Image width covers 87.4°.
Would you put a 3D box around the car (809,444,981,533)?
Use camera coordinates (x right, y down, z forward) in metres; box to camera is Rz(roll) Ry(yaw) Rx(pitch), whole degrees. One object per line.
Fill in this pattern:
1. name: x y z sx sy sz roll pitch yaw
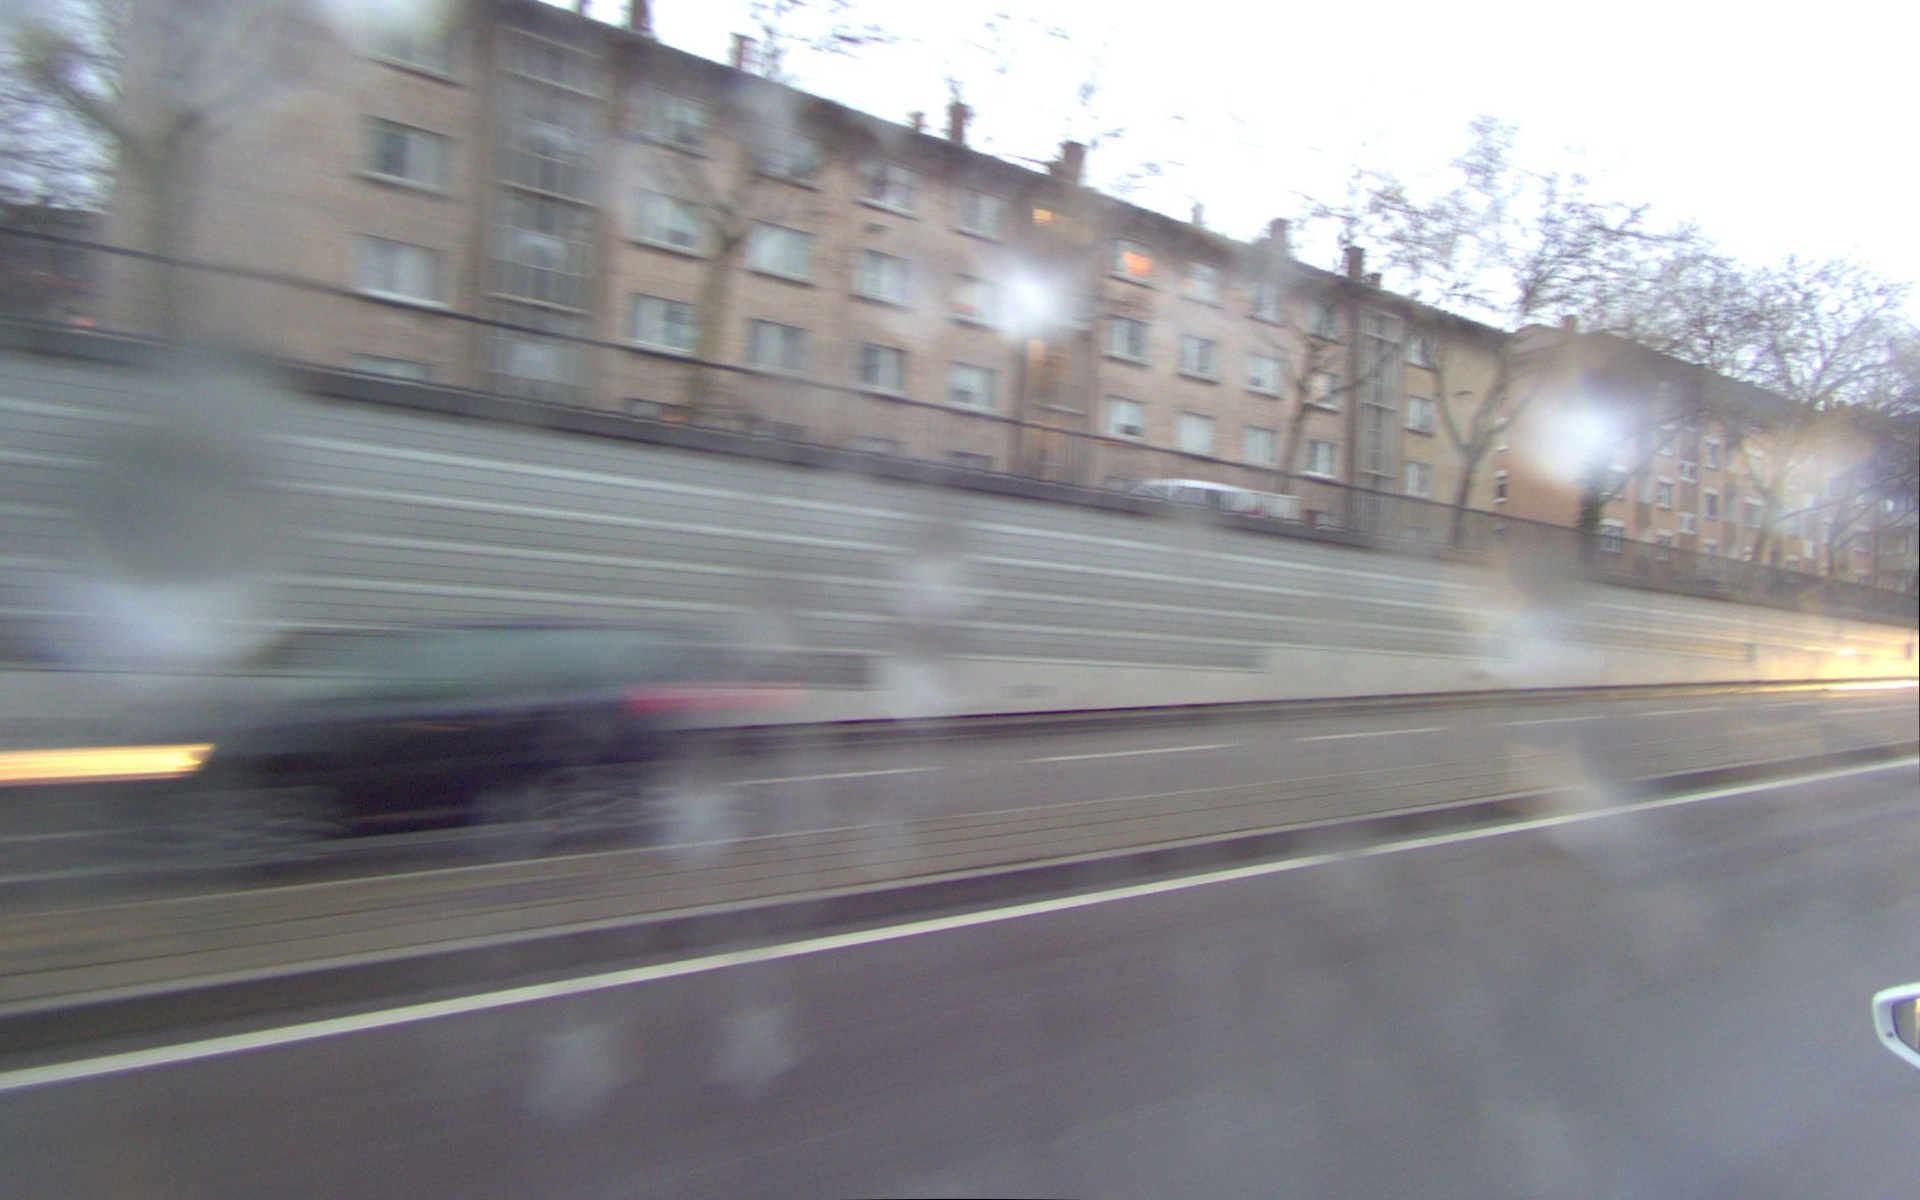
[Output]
1. car: -1.525 -2.599 24.104 3.833 1.491 1.558 3 -5 -30

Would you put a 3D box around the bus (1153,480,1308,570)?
1. bus: 7.352 -1.952 27.234 4.015 1.894 1.689 3 -5 -29

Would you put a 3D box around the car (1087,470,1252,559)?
1. car: 4.567 -1.802 21.822 3.366 1.415 1.558 3 -5 -30

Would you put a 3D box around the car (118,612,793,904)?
1. car: -3.120 0.848 6.749 3.644 1.490 1.564 1 -2 -31
